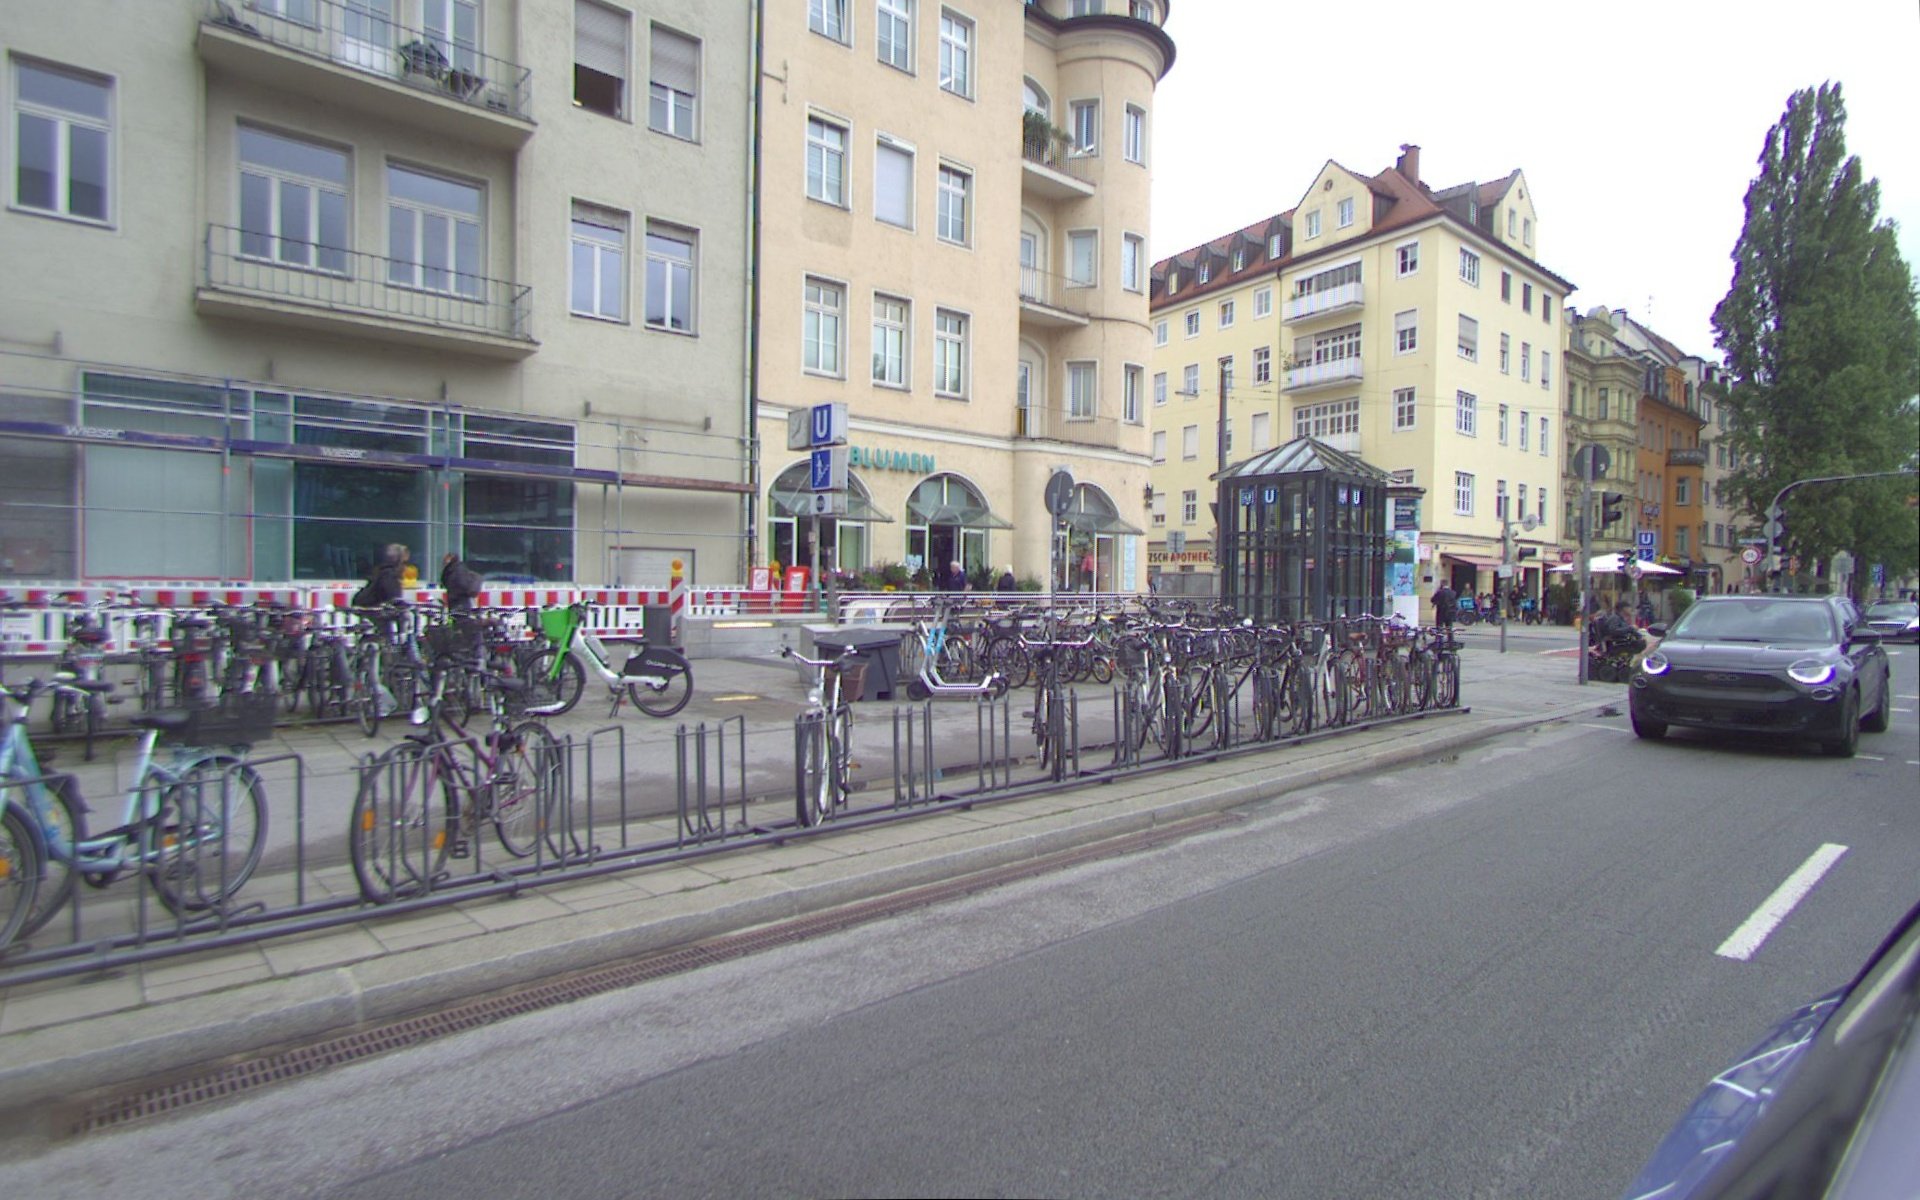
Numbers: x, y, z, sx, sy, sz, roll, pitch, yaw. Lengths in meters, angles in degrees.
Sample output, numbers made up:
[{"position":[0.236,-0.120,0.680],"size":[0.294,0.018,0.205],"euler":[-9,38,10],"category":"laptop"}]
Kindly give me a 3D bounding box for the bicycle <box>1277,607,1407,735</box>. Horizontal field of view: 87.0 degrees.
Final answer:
[{"position":[3.827,0.663,10.288],"size":[0.468,1.151,1.787],"euler":[0,0,-6],"category":"bicycle"}]

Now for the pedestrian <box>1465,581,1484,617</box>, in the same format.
[{"position":[22.232,-0.046,43.746],"size":[0.575,1.545,0.528],"euler":[0,1,-40],"category":"pedestrian"}]

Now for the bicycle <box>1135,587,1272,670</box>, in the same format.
[{"position":[3.983,0.433,16.791],"size":[0.617,1.242,2.318],"euler":[0,2,-38],"category":"bicycle"}]

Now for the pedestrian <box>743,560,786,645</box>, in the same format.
[{"position":[-3.678,0.036,19.030],"size":[0.580,1.560,0.565],"euler":[-1,2,-42],"category":"pedestrian"}]

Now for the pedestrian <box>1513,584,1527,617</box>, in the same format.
[{"position":[26.195,0.017,47.322],"size":[0.525,1.545,0.579],"euler":[2,1,32],"category":"pedestrian"}]

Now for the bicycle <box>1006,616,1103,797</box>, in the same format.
[{"position":[0.669,0.720,7.617],"size":[0.480,1.151,1.797],"euler":[0,0,-3],"category":"bicycle"}]

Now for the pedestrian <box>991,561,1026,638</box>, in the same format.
[{"position":[1.117,-0.026,23.342],"size":[0.580,1.722,0.565],"euler":[-1,2,-42],"category":"pedestrian"}]

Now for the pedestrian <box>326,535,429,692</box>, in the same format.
[{"position":[-6.686,0.138,11.641],"size":[0.728,1.729,0.703],"euler":[1,1,9],"category":"pedestrian"}]

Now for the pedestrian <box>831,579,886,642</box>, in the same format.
[{"position":[-2.114,0.210,21.103],"size":[0.903,1.261,0.700],"euler":[-2,3,-42],"category":"pedestrian"}]

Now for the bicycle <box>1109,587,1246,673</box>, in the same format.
[{"position":[3.478,0.441,16.426],"size":[0.617,1.242,2.318],"euler":[0,2,-38],"category":"bicycle"}]

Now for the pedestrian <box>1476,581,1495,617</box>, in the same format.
[{"position":[22.470,-0.045,43.284],"size":[0.575,1.545,0.528],"euler":[0,1,-40],"category":"pedestrian"}]

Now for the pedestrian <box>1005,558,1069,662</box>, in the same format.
[{"position":[1.320,0.157,17.309],"size":[0.804,1.713,0.747],"euler":[2,1,36],"category":"pedestrian"}]

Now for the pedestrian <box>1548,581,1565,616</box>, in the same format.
[{"position":[29.277,-0.068,49.683],"size":[0.575,1.705,0.552],"euler":[0,1,-40],"category":"pedestrian"}]

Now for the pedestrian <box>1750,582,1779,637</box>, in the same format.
[{"position":[27.341,0.307,34.385],"size":[0.729,1.823,0.700],"euler":[2,3,40],"category":"pedestrian"}]

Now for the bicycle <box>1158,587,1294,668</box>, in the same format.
[{"position":[4.476,0.424,17.218],"size":[0.617,1.242,2.318],"euler":[0,2,-38],"category":"bicycle"}]

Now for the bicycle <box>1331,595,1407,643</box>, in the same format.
[{"position":[10.561,0.469,26.211],"size":[0.597,1.142,1.828],"euler":[2,1,-28],"category":"bicycle"}]

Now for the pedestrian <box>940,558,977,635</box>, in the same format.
[{"position":[-0.032,-0.100,23.821],"size":[0.634,1.760,0.617],"euler":[-1,2,-42],"category":"pedestrian"}]

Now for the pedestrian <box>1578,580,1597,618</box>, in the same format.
[{"position":[28.433,-0.035,45.829],"size":[0.575,1.705,0.552],"euler":[0,1,-40],"category":"pedestrian"}]

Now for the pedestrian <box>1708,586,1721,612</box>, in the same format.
[{"position":[50.492,-0.083,67.694],"size":[0.575,1.705,0.552],"euler":[0,1,-40],"category":"pedestrian"}]

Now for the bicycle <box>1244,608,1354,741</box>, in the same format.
[{"position":[3.251,0.673,9.840],"size":[0.469,1.151,1.679],"euler":[0,0,-1],"category":"bicycle"}]

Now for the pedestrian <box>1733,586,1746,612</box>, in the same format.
[{"position":[52.059,-0.090,67.561],"size":[0.575,1.705,0.552],"euler":[0,1,-40],"category":"pedestrian"}]

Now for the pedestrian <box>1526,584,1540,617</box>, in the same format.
[{"position":[26.588,0.018,46.980],"size":[0.525,1.545,0.579],"euler":[2,1,32],"category":"pedestrian"}]

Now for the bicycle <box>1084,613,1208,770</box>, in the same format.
[{"position":[1.528,0.702,8.585],"size":[0.578,1.151,1.797],"euler":[0,0,-5],"category":"bicycle"}]

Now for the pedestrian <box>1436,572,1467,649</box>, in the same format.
[{"position":[11.701,0.230,24.100],"size":[0.634,1.799,0.605],"euler":[1,1,26],"category":"pedestrian"}]

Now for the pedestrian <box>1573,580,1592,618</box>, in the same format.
[{"position":[28.713,-0.050,46.696],"size":[0.575,1.705,0.552],"euler":[0,1,-40],"category":"pedestrian"}]

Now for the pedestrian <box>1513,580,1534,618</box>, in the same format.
[{"position":[25.300,-0.045,45.464],"size":[0.675,1.688,0.619],"euler":[1,1,18],"category":"pedestrian"}]

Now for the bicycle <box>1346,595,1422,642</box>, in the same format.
[{"position":[11.100,0.461,26.561],"size":[0.597,1.142,1.828],"euler":[2,1,-28],"category":"bicycle"}]

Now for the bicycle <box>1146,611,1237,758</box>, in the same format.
[{"position":[2.019,0.694,8.976],"size":[0.341,1.151,1.527],"euler":[0,0,-5],"category":"bicycle"}]

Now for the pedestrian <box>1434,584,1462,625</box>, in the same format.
[{"position":[19.214,0.164,39.827],"size":[0.817,1.587,0.714],"euler":[-1,0,-40],"category":"pedestrian"}]

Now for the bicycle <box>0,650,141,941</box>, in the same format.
[{"position":[-3.785,0.714,3.427],"size":[0.390,1.073,1.849],"euler":[0,-2,4],"category":"bicycle"}]

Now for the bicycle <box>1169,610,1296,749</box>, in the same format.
[{"position":[2.508,0.683,9.489],"size":[0.468,1.151,1.681],"euler":[0,0,-11],"category":"bicycle"}]

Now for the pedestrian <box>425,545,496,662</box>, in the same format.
[{"position":[-7.312,0.039,14.809],"size":[0.819,1.652,0.564],"euler":[0,1,-37],"category":"pedestrian"}]

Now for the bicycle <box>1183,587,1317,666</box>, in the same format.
[{"position":[5.020,0.415,17.667],"size":[0.617,1.242,2.318],"euler":[0,2,-38],"category":"bicycle"}]
